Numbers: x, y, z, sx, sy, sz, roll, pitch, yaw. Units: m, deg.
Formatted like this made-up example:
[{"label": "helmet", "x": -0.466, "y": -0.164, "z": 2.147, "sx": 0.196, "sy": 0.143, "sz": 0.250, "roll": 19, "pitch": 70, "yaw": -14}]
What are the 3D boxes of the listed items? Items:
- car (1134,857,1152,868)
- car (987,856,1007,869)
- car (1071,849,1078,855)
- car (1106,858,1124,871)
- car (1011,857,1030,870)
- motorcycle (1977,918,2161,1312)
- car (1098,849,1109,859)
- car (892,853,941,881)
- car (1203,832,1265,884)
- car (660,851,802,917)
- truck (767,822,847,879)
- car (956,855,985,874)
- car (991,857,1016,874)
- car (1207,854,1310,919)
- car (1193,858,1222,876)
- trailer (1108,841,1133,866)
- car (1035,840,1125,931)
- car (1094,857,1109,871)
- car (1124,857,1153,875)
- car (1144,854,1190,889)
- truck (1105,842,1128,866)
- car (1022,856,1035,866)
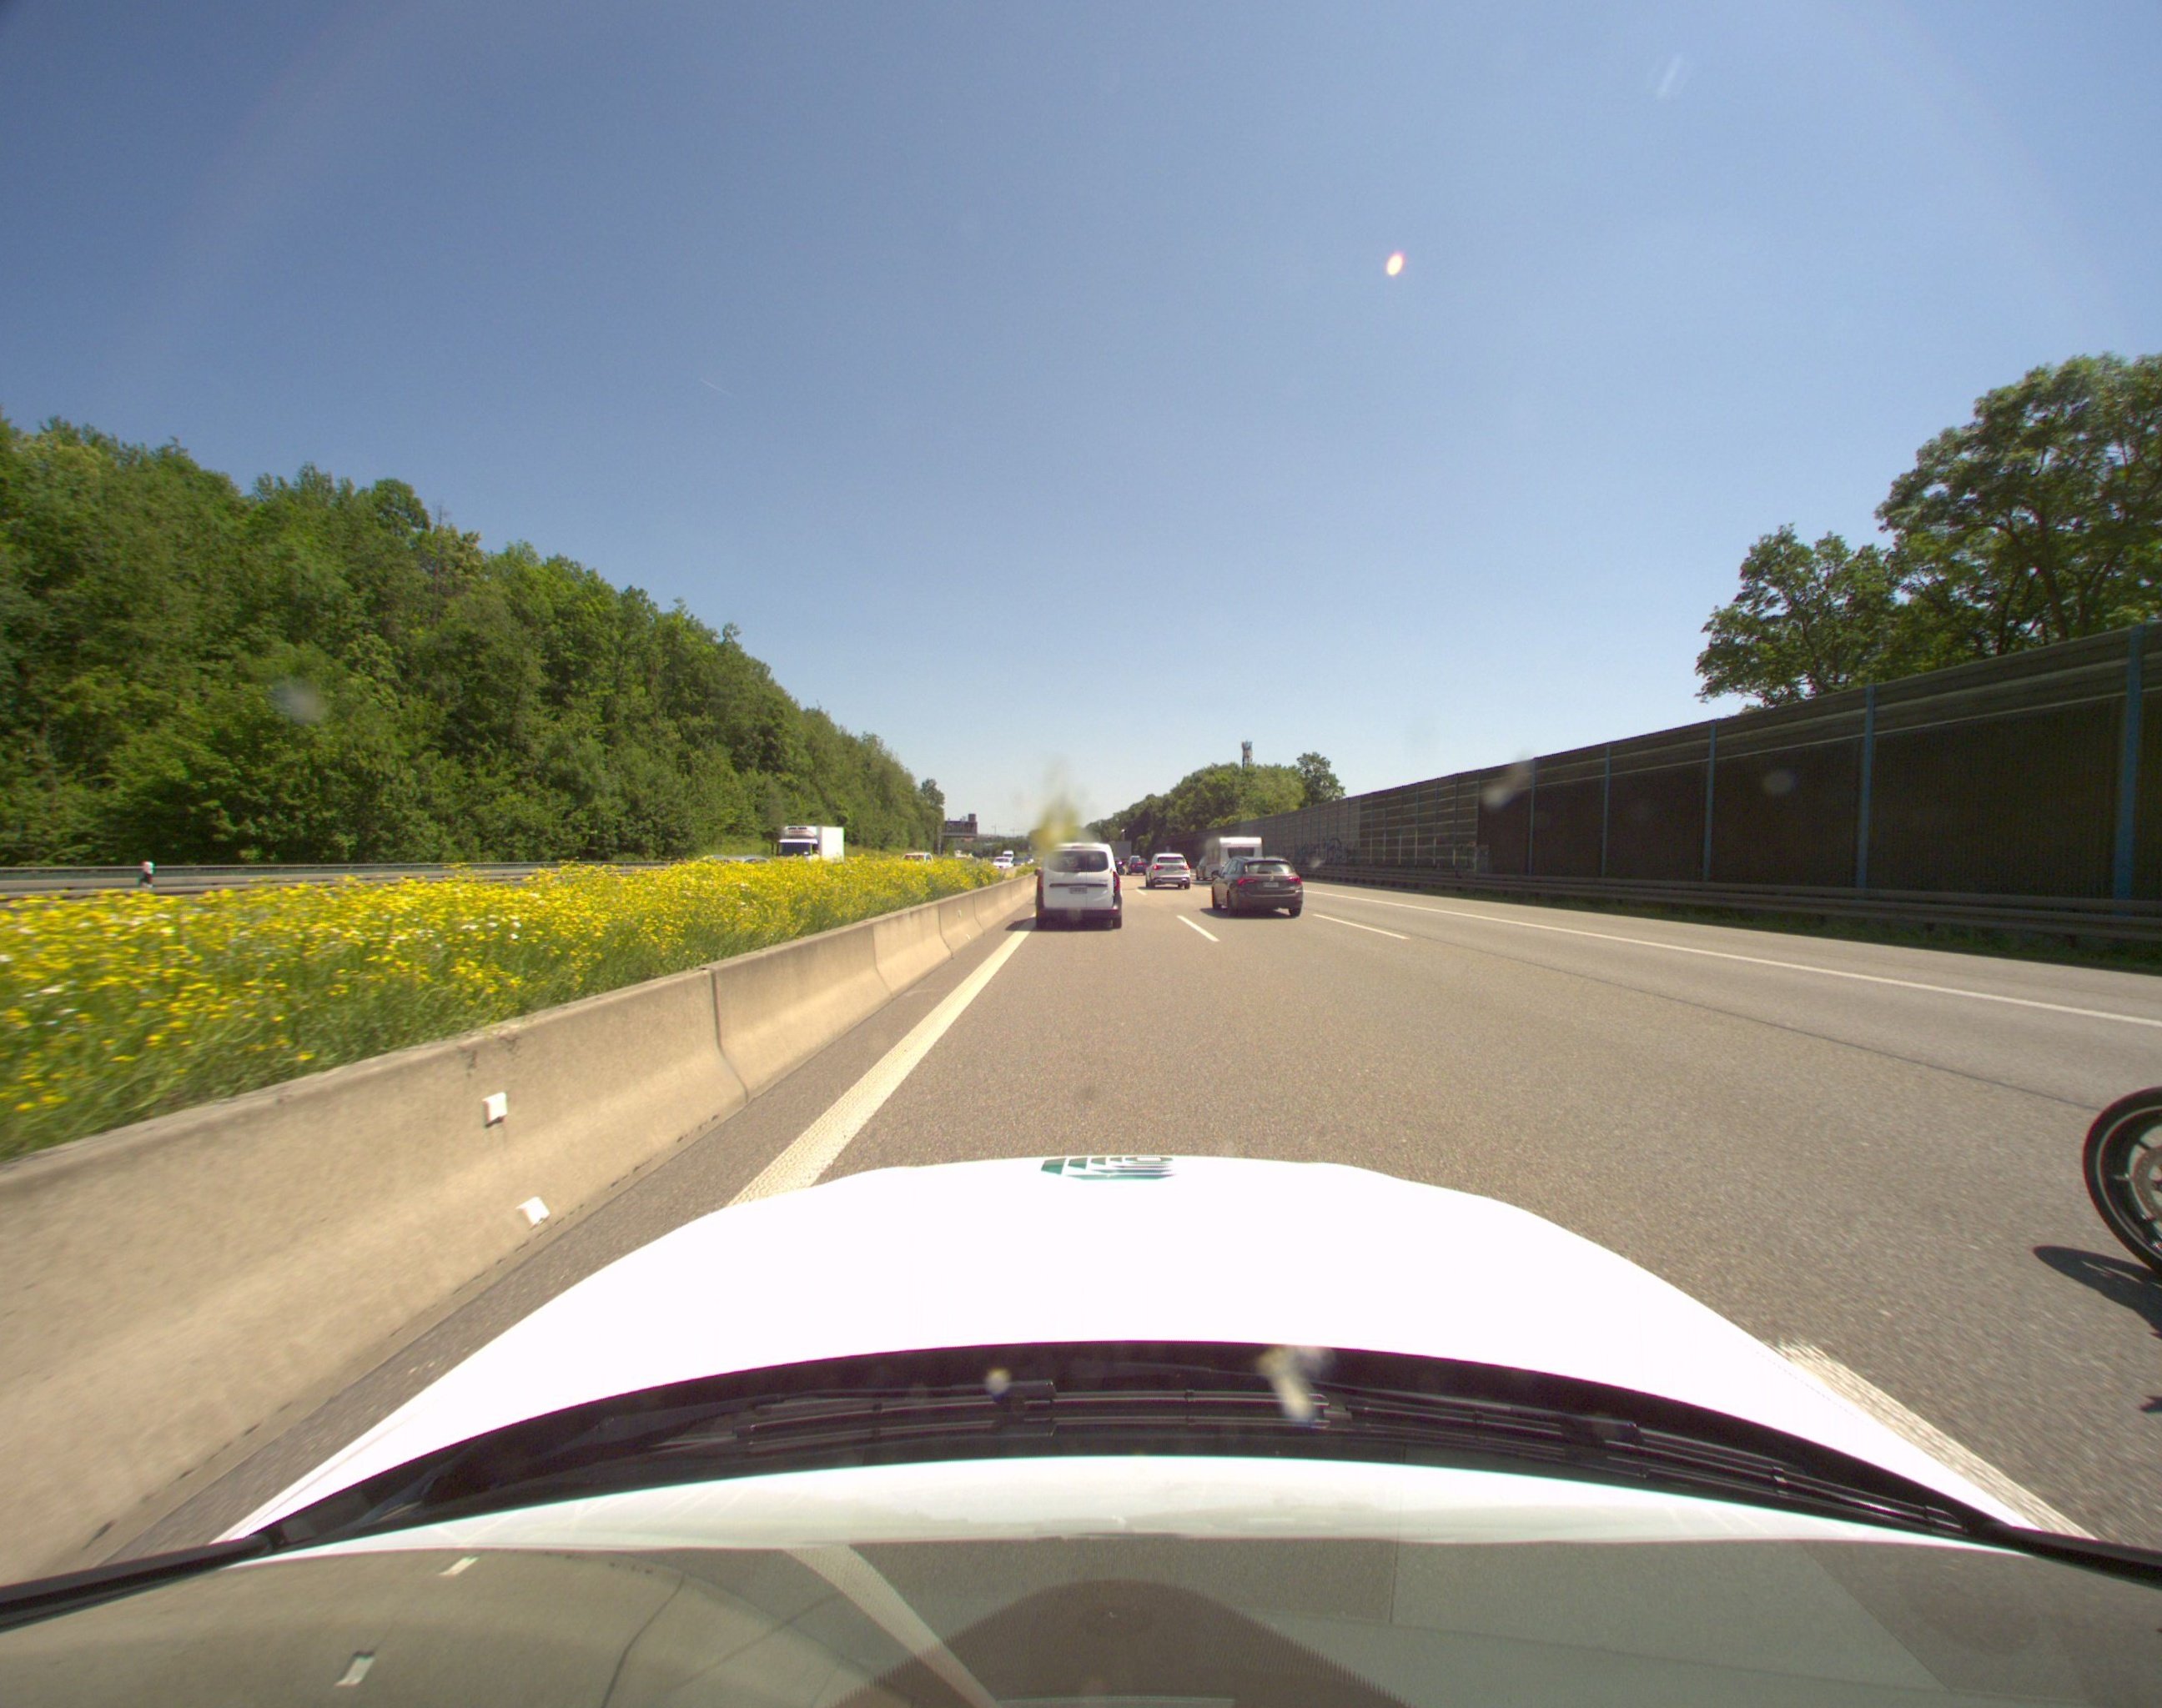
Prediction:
[{"label": "car", "x": 8.165, "y": 1.066, "z": 107.315, "sx": 1.820, "sy": 1.424, "sz": 3.996, "roll": 0, "pitch": 0, "yaw": -3}, {"label": "car", "x": -9.991, "y": 0.999, "z": 97.094, "sx": 1.836, "sy": 1.420, "sz": 4.233, "roll": 0, "pitch": 0, "yaw": 0}, {"label": "car", "x": -2.038, "y": -0.586, "z": 248.791, "sx": 1.990, "sy": 1.728, "sz": 3.994, "roll": 0, "pitch": 0, "yaw": -4}, {"label": "car", "x": 3.967, "y": 1.200, "z": 95.616, "sx": 1.820, "sy": 1.424, "sz": 3.995, "roll": 0, "pitch": -1, "yaw": -3}, {"label": "car", "x": -6.605, "y": 1.046, "z": 89.539, "sx": 1.726, "sy": 1.405, "sz": 4.610, "roll": -1, "pitch": 0, "yaw": -1}, {"label": "motorcycle", "x": 3.777, "y": 0.838, "z": 1.931, "sx": 0.856, "sy": 1.182, "sz": 2.277, "roll": 0, "pitch": 0, "yaw": 2}, {"label": "car", "x": 4.693, "y": 0.088, "z": 167.833, "sx": 1.989, "sy": 2.014, "sz": 3.996, "roll": 0, "pitch": 0, "yaw": -3}, {"label": "car", "x": -10.330, "y": 0.808, "z": 51.465, "sx": 1.986, "sy": 1.701, "sz": 4.532, "roll": 0, "pitch": 0, "yaw": 2}, {"label": "car", "x": 8.703, "y": 0.224, "z": 46.935, "sx": 2.470, "sy": 2.766, "sz": 6.220, "roll": 0, "pitch": -1, "yaw": 1}, {"label": "car", "x": -8.953, "y": 0.709, "z": 21.243, "sx": 1.779, "sy": 1.544, "sz": 4.158, "roll": 0, "pitch": 0, "yaw": 2}, {"label": "truck", "x": -17.849, "y": -0.224, "z": 53.655, "sx": 2.726, "sy": 3.475, "sz": 7.314, "roll": 0, "pitch": 0, "yaw": 0}, {"label": "car", "x": -9.512, "y": 0.917, "z": 70.453, "sx": 1.835, "sy": 1.546, "sz": 4.002, "roll": -1, "pitch": 0, "yaw": 2}, {"label": "car", "x": -6.620, "y": 0.956, "z": 69.887, "sx": 1.626, "sy": 1.428, "sz": 4.038, "roll": -1, "pitch": 0, "yaw": 2}, {"label": "car", "x": 4.501, "y": 0.754, "z": 21.302, "sx": 1.831, "sy": 1.513, "sz": 4.403, "roll": 0, "pitch": 0, "yaw": 1}, {"label": "car", "x": 10.212, "y": 1.062, "z": 65.970, "sx": 1.818, "sy": 1.424, "sz": 3.999, "roll": 0, "pitch": -1, "yaw": 0}, {"label": "trailer", "x": 6.455, "y": -0.050, "z": 133.386, "sx": 3.075, "sy": 3.986, "sz": 10.311, "roll": 0, "pitch": -1, "yaw": -3}, {"label": "car", "x": 0.040, "y": 0.646, "z": 18.348, "sx": 1.796, "sy": 1.808, "sz": 4.001, "roll": 0, "pitch": 0, "yaw": 1}, {"label": "car", "x": 2.999, "y": 1.446, "z": 121.273, "sx": 1.820, "sy": 1.989, "sz": 3.996, "roll": -2, "pitch": 0, "yaw": -3}, {"label": "car", "x": 4.620, "y": 0.955, "z": 65.800, "sx": 1.820, "sy": 1.424, "sz": 3.995, "roll": 0, "pitch": -1, "yaw": -3}, {"label": "car", "x": 4.095, "y": 0.786, "z": 39.266, "sx": 1.864, "sy": 1.608, "sz": 3.880, "roll": 0, "pitch": 0, "yaw": 1}, {"label": "truck", "x": 6.085, "y": 0.008, "z": 141.137, "sx": 3.075, "sy": 3.986, "sz": 9.635, "roll": 0, "pitch": -1, "yaw": -3}, {"label": "car", "x": -7.513, "y": 1.032, "z": 117.277, "sx": 1.660, "sy": 1.428, "sz": 3.857, "roll": 0, "pitch": 0, "yaw": 0}]
